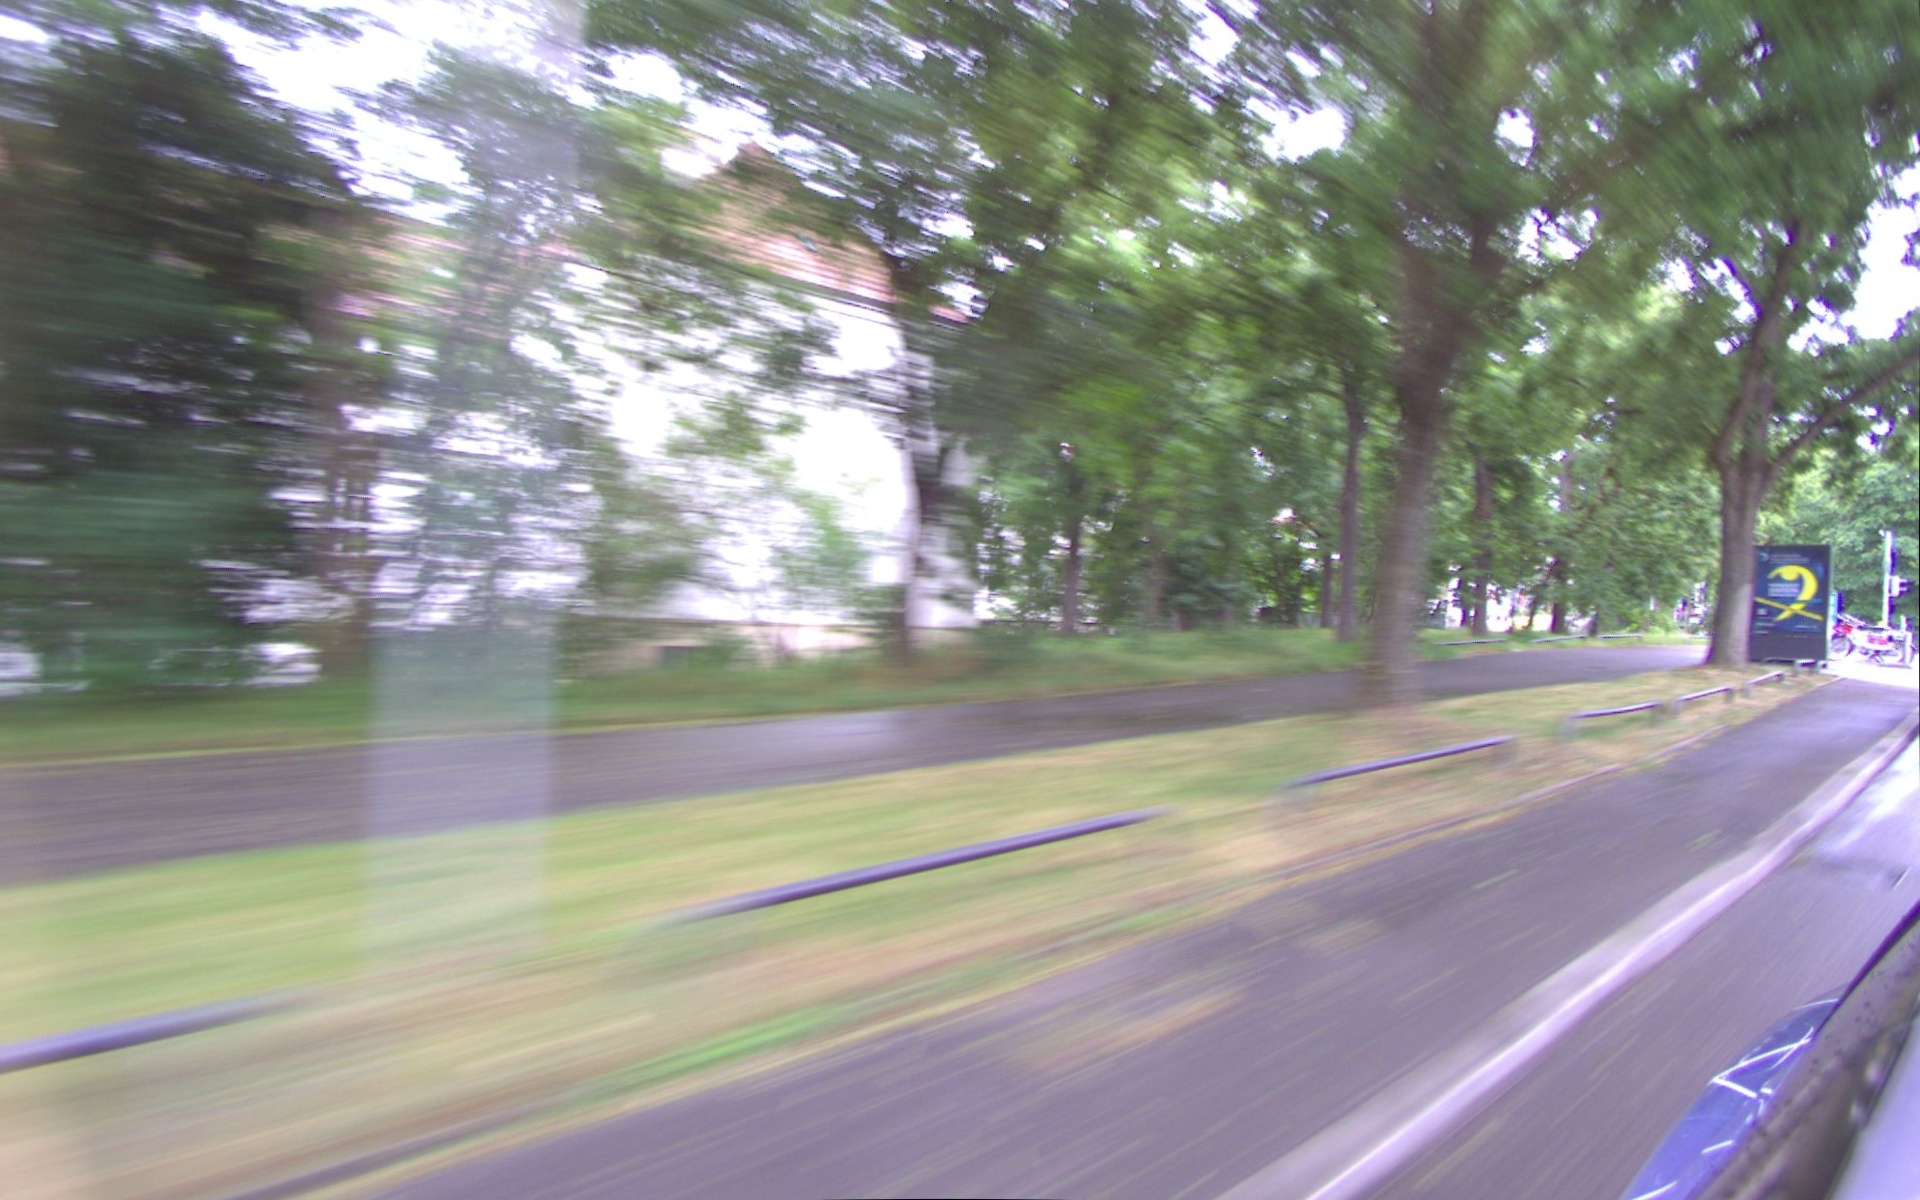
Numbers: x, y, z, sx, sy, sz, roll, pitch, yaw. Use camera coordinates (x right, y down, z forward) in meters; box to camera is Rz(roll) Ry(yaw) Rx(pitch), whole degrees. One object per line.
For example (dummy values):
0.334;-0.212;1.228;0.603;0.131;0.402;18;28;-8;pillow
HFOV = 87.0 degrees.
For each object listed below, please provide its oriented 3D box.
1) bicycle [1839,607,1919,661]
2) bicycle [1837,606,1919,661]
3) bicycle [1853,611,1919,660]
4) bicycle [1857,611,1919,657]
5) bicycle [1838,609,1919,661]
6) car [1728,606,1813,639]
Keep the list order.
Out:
22.333;0.814;24.521;1.486;1.145;0.548;6;4;44;bicycle
21.759;0.771;23.910;1.486;1.145;0.548;6;4;44;bicycle
24.408;0.913;26.484;1.486;1.145;0.548;6;4;44;bicycle
26.251;0.949;28.363;1.597;1.145;0.548;6;4;44;bicycle
23.151;0.855;25.477;1.486;1.145;0.548;6;4;44;bicycle
54.041;1.502;67.540;3.928;2.039;1.998;2;-1;4;car
